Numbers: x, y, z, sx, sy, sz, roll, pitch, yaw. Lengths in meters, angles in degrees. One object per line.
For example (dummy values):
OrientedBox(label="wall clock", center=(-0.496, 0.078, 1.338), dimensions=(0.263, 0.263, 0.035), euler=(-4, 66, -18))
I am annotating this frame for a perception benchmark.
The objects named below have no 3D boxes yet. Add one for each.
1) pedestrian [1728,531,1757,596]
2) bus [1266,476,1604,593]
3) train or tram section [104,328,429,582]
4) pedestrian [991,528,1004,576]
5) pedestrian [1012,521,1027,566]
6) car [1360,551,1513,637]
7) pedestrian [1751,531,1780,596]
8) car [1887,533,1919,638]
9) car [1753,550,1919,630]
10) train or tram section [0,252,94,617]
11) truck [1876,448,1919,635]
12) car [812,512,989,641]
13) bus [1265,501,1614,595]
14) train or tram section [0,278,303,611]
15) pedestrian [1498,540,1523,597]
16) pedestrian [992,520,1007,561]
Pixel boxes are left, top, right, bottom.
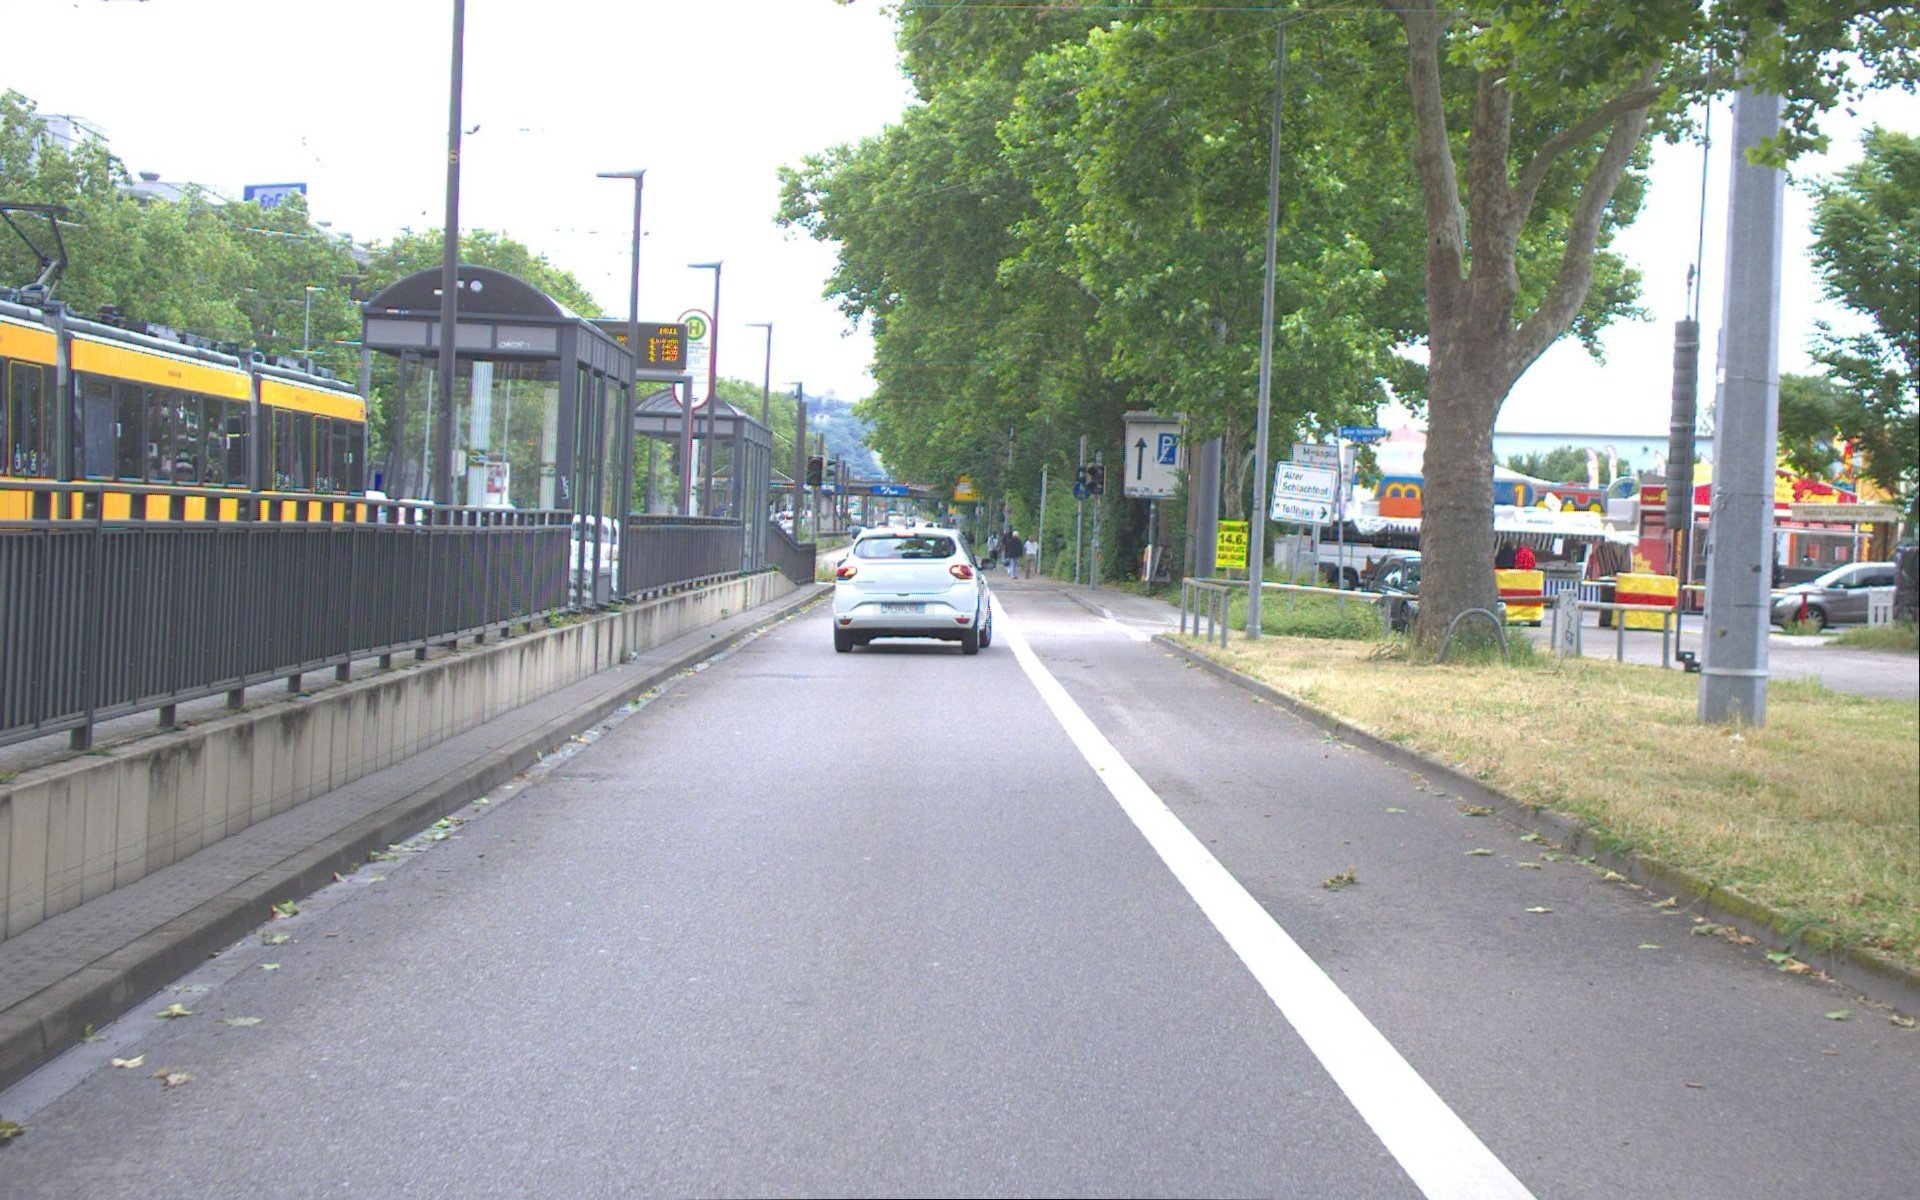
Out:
OrientedBox(label="pedestrian", center=(20.728, -0.969, 91.074), dimensions=(0.522, 1.681, 0.494), euler=(2, 1, -17))
OrientedBox(label="bus", center=(13.591, -1.872, 98.612), dimensions=(9.276, 2.949, 2.000), euler=(2, 1, -3))
OrientedBox(label="train or tram section", center=(-12.867, -2.549, 65.481), dimensions=(3.180, 4.164, 14.735), euler=(2, 1, -1))
OrientedBox(label="pedestrian", center=(1.559, -1.996, 143.668), dimensions=(0.396, 2.007, 0.402), euler=(3, 1, 15))
OrientedBox(label="pedestrian", center=(2.160, -2.046, 124.595), dimensions=(0.396, 1.580, 0.538), euler=(2, 1, 7))
OrientedBox(label="car", center=(8.596, -0.130, 62.331), dimensions=(1.863, 1.425, 4.001), euler=(2, 1, -5))
OrientedBox(label="pedestrian", center=(21.446, -0.974, 91.541), dimensions=(0.522, 1.681, 0.494), euler=(2, 1, -17))
OrientedBox(label="car", center=(20.997, -0.249, 68.238), dimensions=(4.573, 2.006, 2.000), euler=(1, 2, -2))
OrientedBox(label="car", center=(19.667, -0.196, 74.167), dimensions=(4.573, 1.570, 2.000), euler=(2, 1, -2))
OrientedBox(label="train or tram section", center=(-12.557, -1.903, 36.094), dimensions=(3.180, 4.164, 14.735), euler=(2, 1, -1))
OrientedBox(label="truck", center=(23.519, -1.046, 71.251), dimensions=(8.190, 3.809, 2.600), euler=(2, 1, -2))
OrientedBox(label="car", center=(-0.781, -0.310, 42.428), dimensions=(1.885, 1.448, 4.001), euler=(2, 1, -4))
OrientedBox(label="bus", center=(13.273, -1.440, 95.418), dimensions=(9.276, 2.220, 2.000), euler=(2, 1, -3))
OrientedBox(label="train or tram section", center=(-12.722, -2.112, 50.774), dimensions=(3.180, 4.164, 14.735), euler=(2, 1, -1))
OrientedBox(label="pedestrian", center=(14.282, -0.818, 89.203), dimensions=(0.492, 1.458, 0.524), euler=(2, 1, -3))
OrientedBox(label="pedestrian", center=(1.429, -2.150, 124.430), dimensions=(0.396, 1.439, 0.563), euler=(2, 1, 10))
